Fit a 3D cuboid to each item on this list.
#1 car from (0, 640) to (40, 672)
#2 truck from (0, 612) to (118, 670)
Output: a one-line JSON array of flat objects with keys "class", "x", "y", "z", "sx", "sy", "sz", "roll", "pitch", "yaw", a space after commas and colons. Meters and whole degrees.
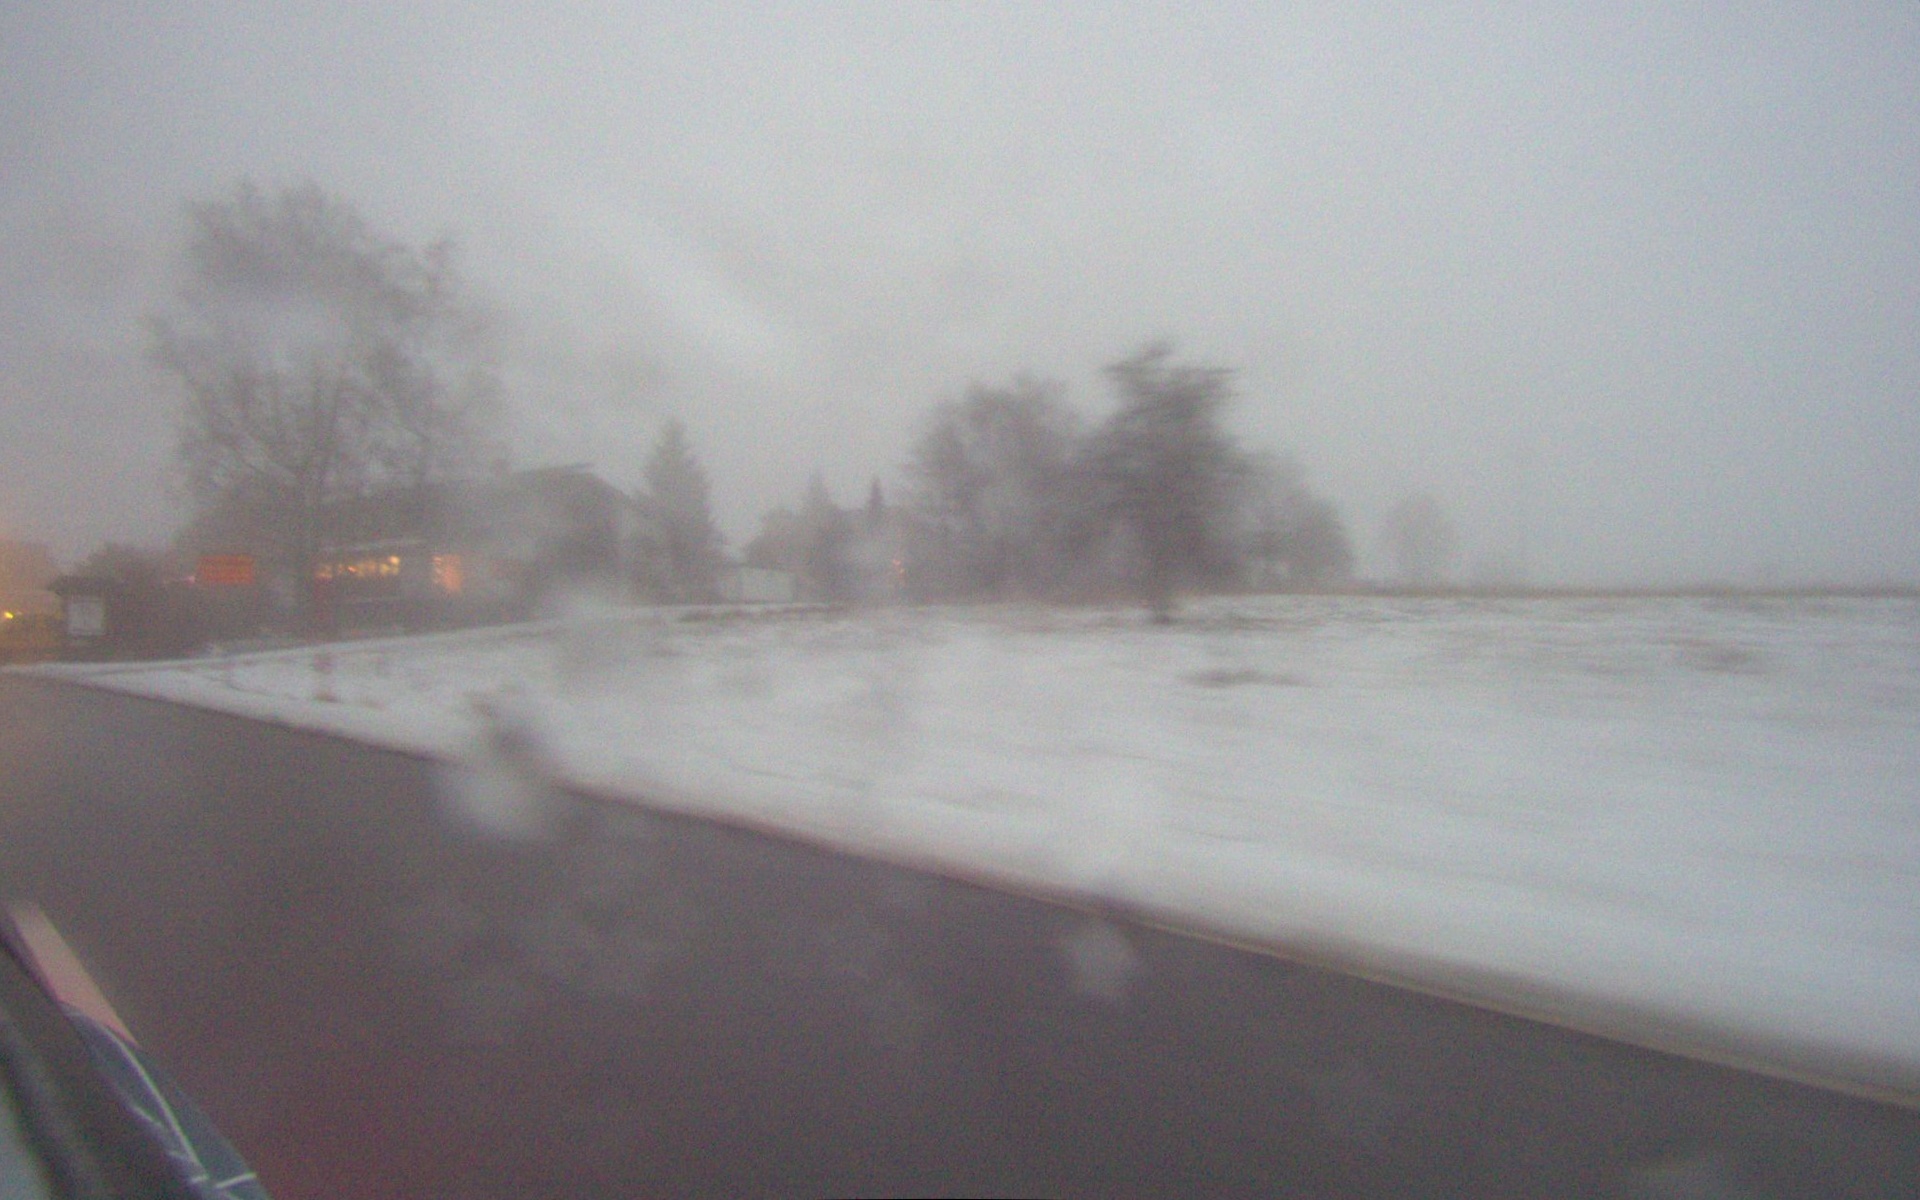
[{"class": "car", "x": -47.719, "y": 2.689, "z": 48.528, "sx": 2.113, "sy": 1.496, "sz": 4.856, "roll": -3, "pitch": -5, "yaw": 28}, {"class": "truck", "x": -39.569, "y": 1.804, "z": 43.163, "sx": 1.990, "sy": 2.321, "sz": 5.229, "roll": -3, "pitch": -5, "yaw": 27}]
